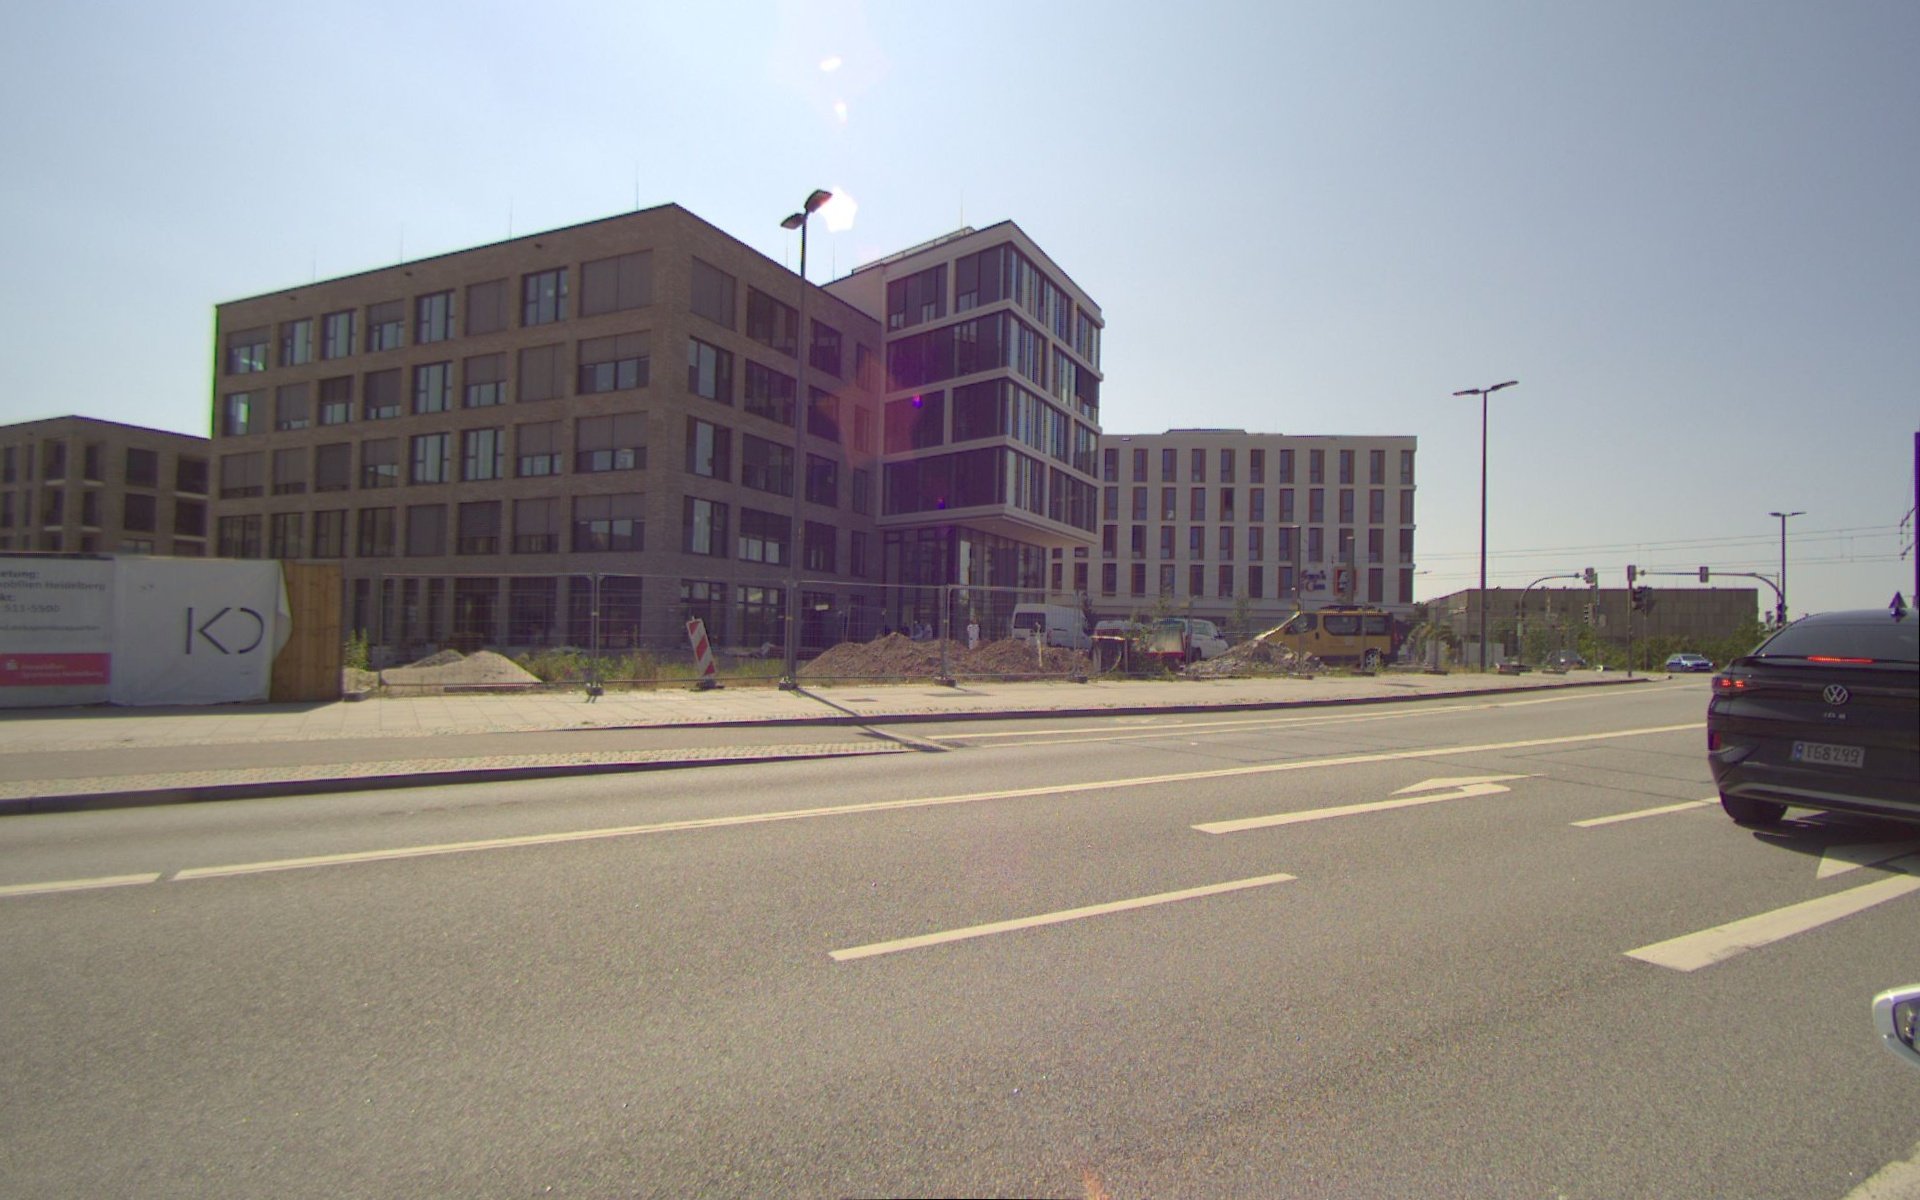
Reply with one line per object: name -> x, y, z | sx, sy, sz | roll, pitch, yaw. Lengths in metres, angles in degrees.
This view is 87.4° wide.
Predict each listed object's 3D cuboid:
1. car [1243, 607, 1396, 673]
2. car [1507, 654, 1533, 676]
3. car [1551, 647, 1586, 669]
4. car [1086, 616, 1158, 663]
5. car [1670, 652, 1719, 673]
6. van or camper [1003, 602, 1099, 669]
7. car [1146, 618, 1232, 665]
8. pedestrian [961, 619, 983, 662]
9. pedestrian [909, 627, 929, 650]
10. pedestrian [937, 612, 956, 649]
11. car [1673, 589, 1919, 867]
car -> 11.989, 1.293, 33.779 | 4.533, 1.988, 1.991 | 2, 0, 9
car -> 47.067, 5.444, 84.463 | 1.541, 1.608, 3.477 | 2, 0, 23
car -> 44.340, 4.196, 73.231 | 1.646, 1.496, 3.405 | 0, -1, 22
car -> 7.092, 1.695, 43.662 | 1.759, 1.881, 3.842 | 2, 0, 31
car -> 52.505, 4.435, 71.872 | 1.787, 1.348, 4.000 | 2, -2, 20
van or camper -> 4.165, 1.553, 45.123 | 2.273, 2.772, 4.975 | 2, 0, 32
car -> 9.661, 1.689, 42.157 | 1.841, 1.797, 4.637 | 2, 0, 36
pedestrian -> 0.513, 1.695, 42.341 | 0.734, 1.741, 0.699 | 2, 0, 16
pedestrian -> -1.949, 1.834, 47.381 | 0.734, 1.041, 0.699 | 2, 0, 16
pedestrian -> -0.664, 1.477, 49.069 | 0.734, 1.741, 0.699 | 2, 0, 16
car -> 7.392, 0.821, 7.470 | 4.315, 1.663, 1.793 | 2, 0, -30
